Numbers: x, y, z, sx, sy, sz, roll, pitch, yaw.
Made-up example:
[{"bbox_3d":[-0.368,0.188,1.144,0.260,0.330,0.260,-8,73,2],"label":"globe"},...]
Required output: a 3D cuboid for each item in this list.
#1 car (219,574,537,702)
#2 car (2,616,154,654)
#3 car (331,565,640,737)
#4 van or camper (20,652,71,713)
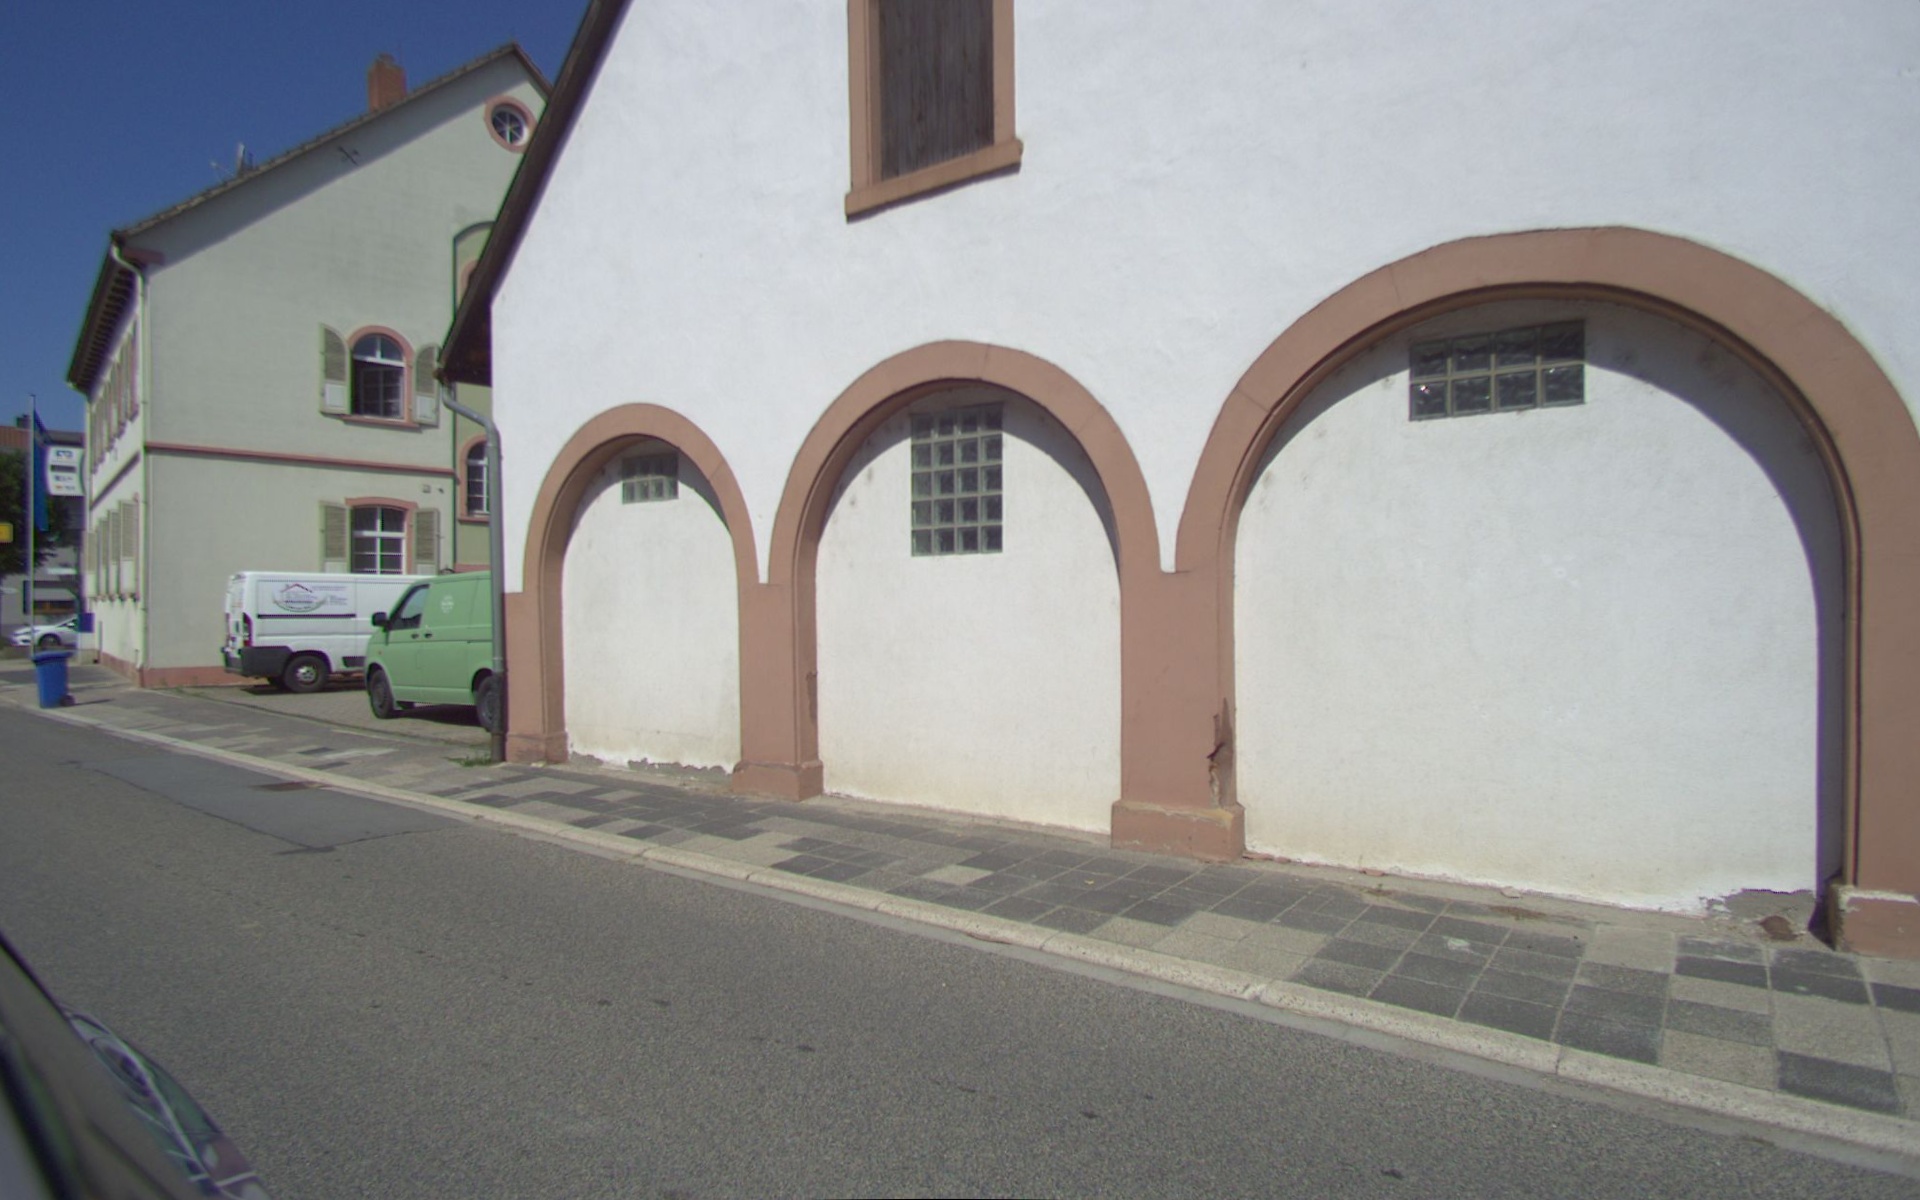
[{"bbox_3d":[-11.385,0.649,20.062,5.114,2.213,2.124,-1,-1,-43],"label":"car"},{"bbox_3d":[-36.490,1.414,41.996,1.850,1.451,4.462,-1,-1,33],"label":"car"},{"bbox_3d":[-6.614,0.620,13.879,4.663,1.979,1.974,-1,-1,38],"label":"car"},{"bbox_3d":[-15.177,1.355,16.795,0.600,0.958,0.583,-1,-1,42],"label":"van or camper"}]
